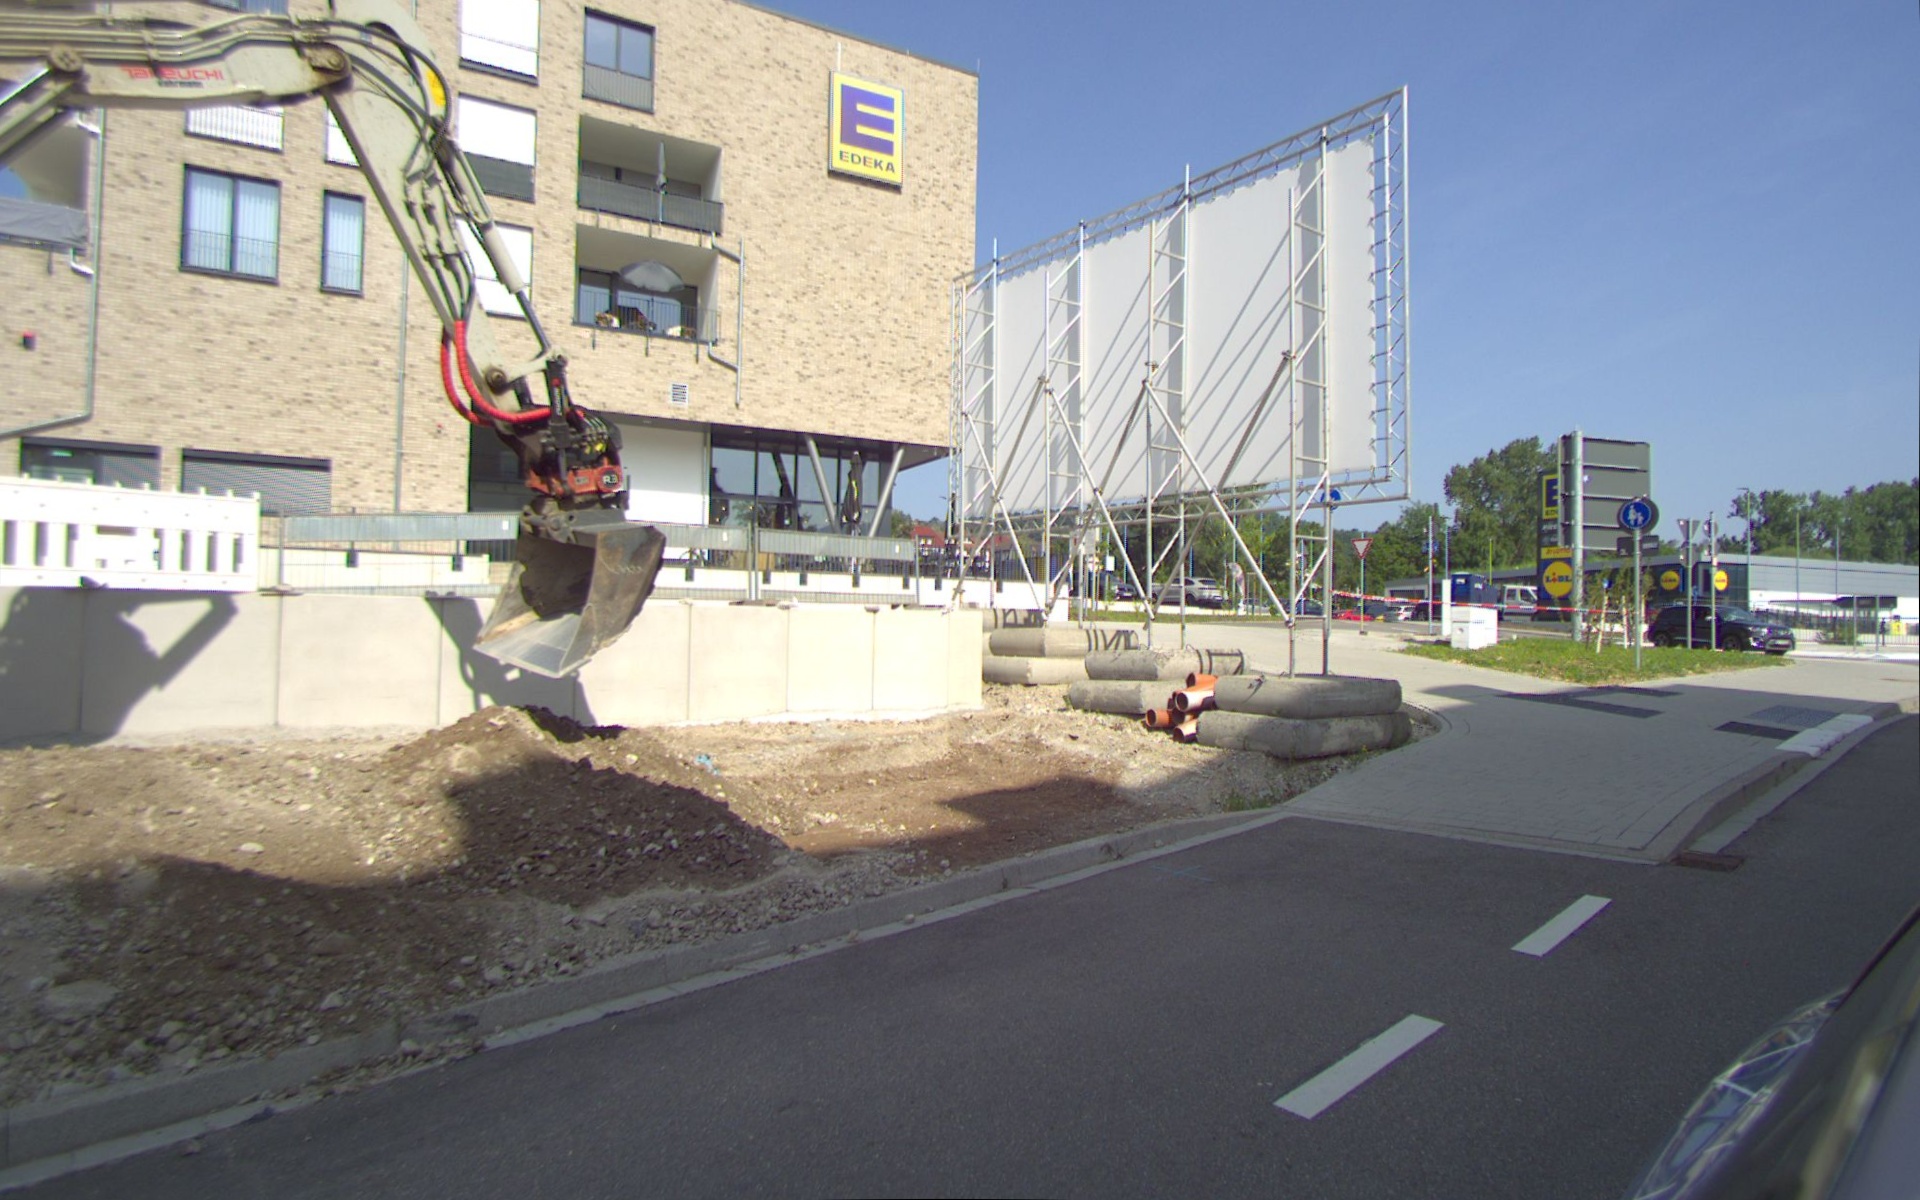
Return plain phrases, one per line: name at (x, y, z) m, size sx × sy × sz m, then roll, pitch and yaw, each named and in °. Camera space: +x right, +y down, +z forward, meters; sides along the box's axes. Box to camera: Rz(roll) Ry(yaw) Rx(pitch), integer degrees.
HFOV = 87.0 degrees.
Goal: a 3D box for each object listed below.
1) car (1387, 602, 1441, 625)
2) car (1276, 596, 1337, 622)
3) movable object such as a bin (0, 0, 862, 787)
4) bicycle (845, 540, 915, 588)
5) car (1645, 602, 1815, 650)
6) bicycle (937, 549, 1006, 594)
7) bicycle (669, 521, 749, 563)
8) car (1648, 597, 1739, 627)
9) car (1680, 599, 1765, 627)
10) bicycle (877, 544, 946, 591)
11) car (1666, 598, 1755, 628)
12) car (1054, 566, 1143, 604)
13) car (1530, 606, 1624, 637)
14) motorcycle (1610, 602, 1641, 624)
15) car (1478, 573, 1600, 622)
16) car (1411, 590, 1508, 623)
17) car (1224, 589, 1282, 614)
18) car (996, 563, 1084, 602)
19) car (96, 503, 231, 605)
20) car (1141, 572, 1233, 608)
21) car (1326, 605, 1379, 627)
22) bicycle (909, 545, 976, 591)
car at (33.678, 1.023, 75.069) m, size 3.708 × 1.595 × 1.668 m, roll 2°, pitch -4°, yaw -25°
car at (23.726, 0.652, 69.308) m, size 3.708 × 1.595 × 1.765 m, roll 2°, pitch -4°, yaw -25°
movable object such as a bin at (-4.278, -1.262, 4.318) m, size 7.654 × 3.905 × 2.300 m, roll 1°, pitch -4°, yaw -38°
bicycle at (-2.279, -0.998, 28.645) m, size 0.841 × 1.159 × 2.241 m, roll 3°, pitch -4°, yaw -39°
car at (24.321, 0.813, 32.166) m, size 1.609 × 1.411 × 4.237 m, roll 1°, pitch -2°, yaw -12°
bicycle at (0.327, -0.833, 30.116) m, size 0.841 × 1.159 × 2.241 m, roll 3°, pitch -4°, yaw -39°
bicycle at (-7.445, -1.700, 30.026) m, size 2.198 × 1.059 × 0.694 m, roll 2°, pitch -4°, yaw -27°
car at (43.530, 0.727, 60.119) m, size 1.747 × 1.595 × 4.016 m, roll 3°, pitch -4°, yaw -39°
car at (47.662, 0.840, 63.321) m, size 1.674 × 1.595 × 3.991 m, roll 4°, pitch -5°, yaw -42°
bicycle at (-1.421, -0.919, 29.196) m, size 0.841 × 1.159 × 2.241 m, roll 3°, pitch -4°, yaw -39°
car at (45.558, 0.820, 61.485) m, size 1.747 × 1.595 × 4.016 m, roll 3°, pitch -4°, yaw -39°
car at (6.533, -0.732, 48.172) m, size 1.820 × 1.575 × 4.467 m, roll 5°, pitch 0°, yaw -28°
car at (36.058, 1.283, 59.269) m, size 1.794 × 1.623 × 4.483 m, roll 2°, pitch -4°, yaw -22°
motorcycle at (39.525, 0.762, 60.125) m, size 0.579 × 1.207 × 1.901 m, roll 1°, pitch -3°, yaw 1°
car at (33.098, -0.068, 58.149) m, size 2.017 × 2.415 × 6.100 m, roll 2°, pitch -4°, yaw -22°
car at (27.794, 0.409, 56.537) m, size 1.882 × 1.550 × 4.868 m, roll 2°, pitch -4°, yaw -20°
car at (19.531, 0.101, 67.528) m, size 3.556 × 1.464 × 1.527 m, roll 2°, pitch -4°, yaw -24°
car at (3.618, -0.831, 46.735) m, size 1.820 × 1.575 × 4.467 m, roll 5°, pitch 0°, yaw -28°
car at (-13.196, -0.712, 16.704) m, size 1.567 × 1.513 × 3.410 m, roll 0°, pitch 1°, yaw -42°
car at (11.366, -0.554, 50.983) m, size 1.819 × 1.575 × 4.830 m, roll 5°, pitch 0°, yaw -26°
car at (31.032, 1.317, 79.992) m, size 3.708 × 1.595 × 1.765 m, roll 2°, pitch -4°, yaw -25°
bicycle at (-0.523, -0.900, 29.603) m, size 0.752 × 1.159 × 2.241 m, roll 3°, pitch -4°, yaw -39°
